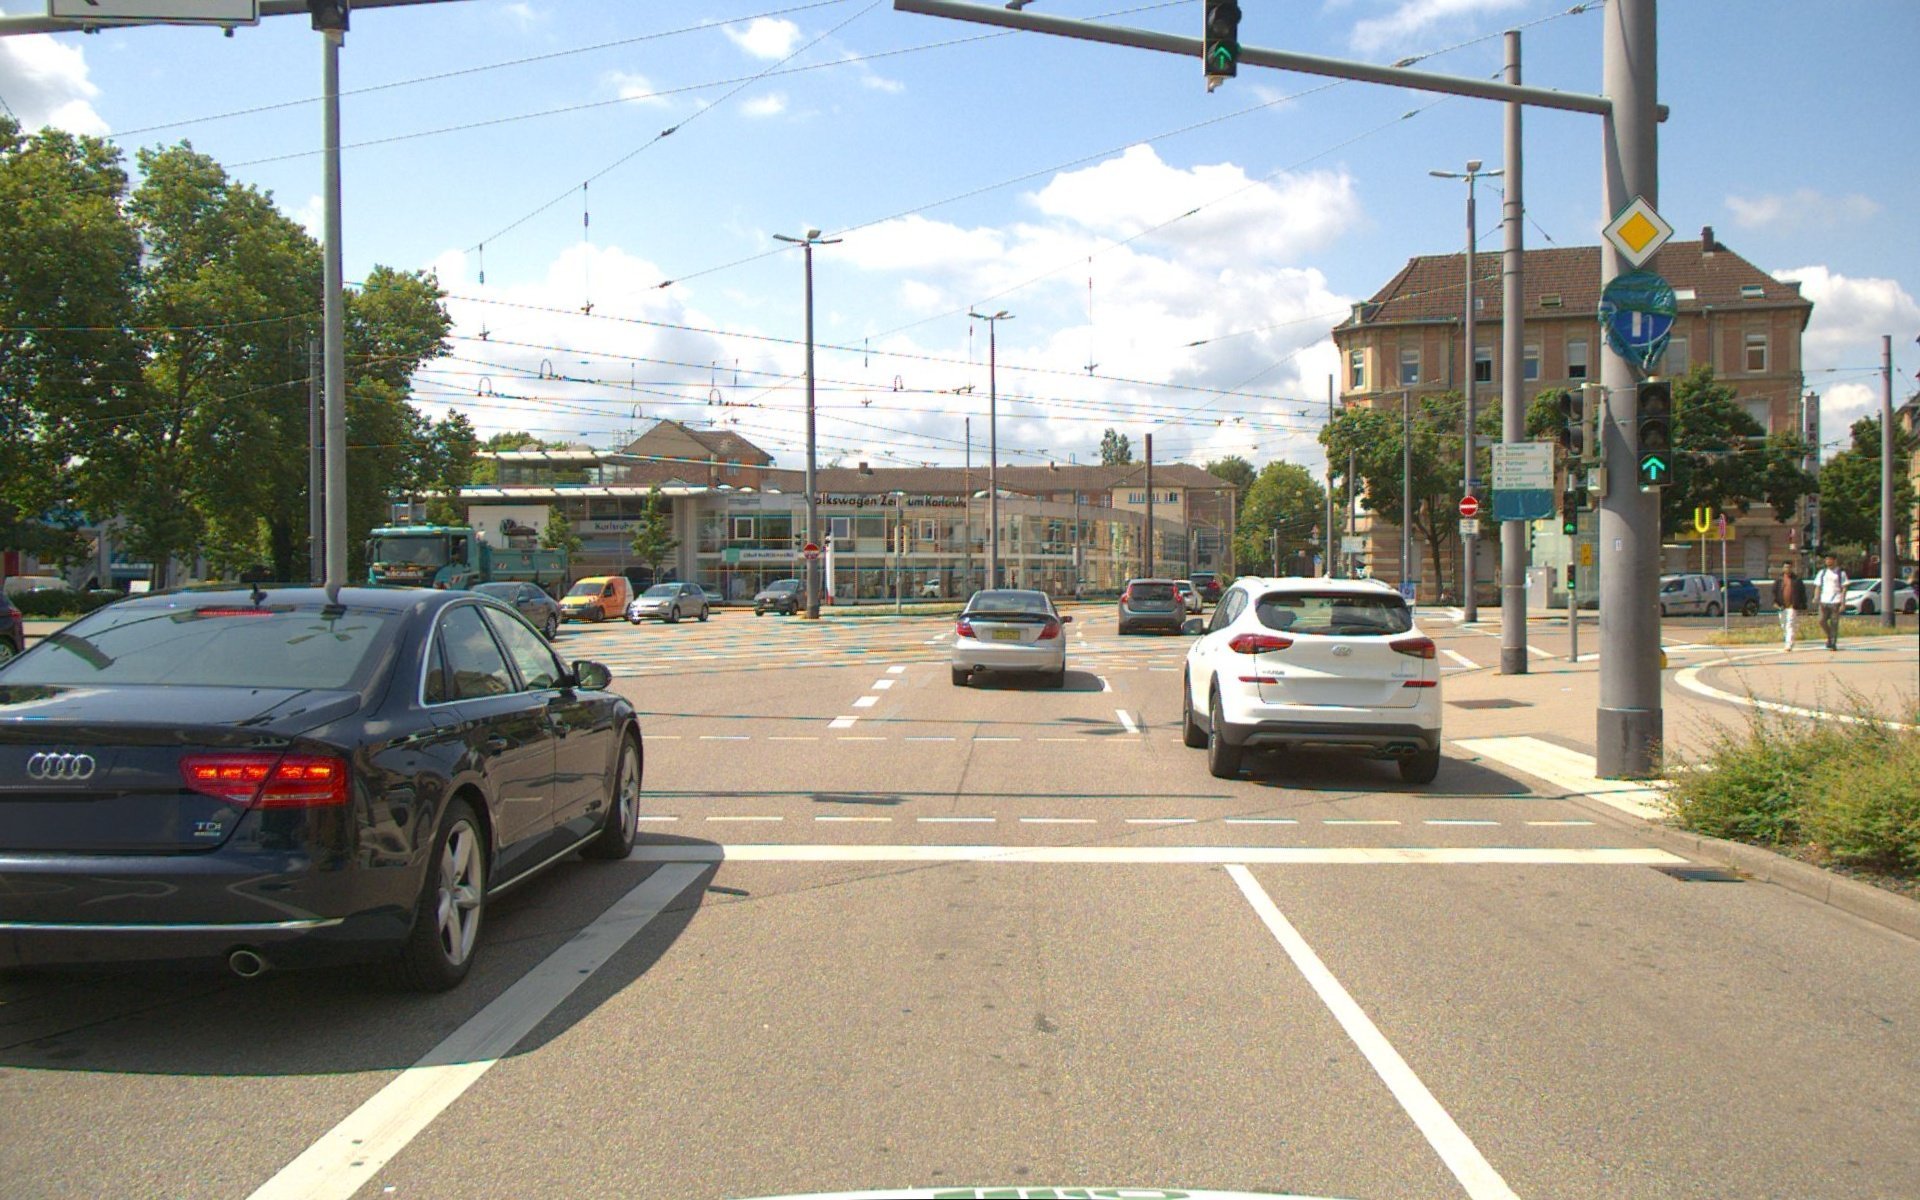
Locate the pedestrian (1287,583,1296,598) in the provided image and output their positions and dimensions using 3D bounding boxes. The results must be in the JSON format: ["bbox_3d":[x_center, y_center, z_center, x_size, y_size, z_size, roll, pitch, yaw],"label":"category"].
[{"bbox_3d":[20.671,-0.599,103.070,0.513,0.922,1.562,0,-1,14],"label":"pedestrian"}]

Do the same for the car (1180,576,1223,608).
[{"bbox_3d":[12.818,-0.434,87.468,1.841,1.670,3.960,0,1,14],"label":"car"}]

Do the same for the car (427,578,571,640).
[{"bbox_3d":[-11.119,0.180,40.234,1.618,1.416,4.779,0,1,7],"label":"car"}]

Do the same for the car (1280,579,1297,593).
[{"bbox_3d":[40.503,-1.768,204.133,1.841,1.722,3.960,0,1,15],"label":"car"}]

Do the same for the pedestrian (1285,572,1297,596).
[{"bbox_3d":[20.668,-0.991,103.144,0.677,1.483,0.680,0,-1,15],"label":"pedestrian"}]

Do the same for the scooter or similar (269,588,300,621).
[{"bbox_3d":[-23.688,0.156,57.973,0.370,1.135,1.095,0,-1,18],"label":"scooter or similar"}]

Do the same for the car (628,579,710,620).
[{"bbox_3d":[-10.724,-0.059,61.272,1.618,1.459,4.275,0,1,10],"label":"car"}]

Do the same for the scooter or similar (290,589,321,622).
[{"bbox_3d":[-22.873,0.185,57.839,0.370,1.135,1.095,0,-1,18],"label":"scooter or similar"}]

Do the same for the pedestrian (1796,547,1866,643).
[{"bbox_3d":[16.675,-0.099,31.670,0.748,1.782,0.854,-2,-1,-34],"label":"pedestrian"}]

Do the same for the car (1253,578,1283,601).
[{"bbox_3d":[22.638,-0.808,121.548,1.841,1.670,3.960,0,1,15],"label":"car"}]

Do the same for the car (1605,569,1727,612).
[{"bbox_3d":[25.617,-0.362,59.995,4.066,1.499,1.713,-1,1,-21],"label":"car"}]

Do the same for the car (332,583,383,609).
[{"bbox_3d":[-38.739,-0.265,106.413,1.954,1.601,4.175,1,-1,-3],"label":"car"}]

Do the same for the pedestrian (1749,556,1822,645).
[{"bbox_3d":[16.146,0.009,32.369,0.955,1.686,0.853,-2,-1,-34],"label":"pedestrian"}]

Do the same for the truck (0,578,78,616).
[{"bbox_3d":[-53.995,-0.216,96.892,1.766,2.157,4.781,0,1,4],"label":"truck"}]

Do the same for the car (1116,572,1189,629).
[{"bbox_3d":[5.187,-0.020,44.212,1.841,1.444,3.960,0,1,8],"label":"car"}]

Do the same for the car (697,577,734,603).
[{"bbox_3d":[-15.785,-0.607,106.969,1.954,1.601,3.997,1,-1,-3],"label":"car"}]

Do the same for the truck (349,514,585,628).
[{"bbox_3d":[-13.698,-0.791,46.929,2.824,2.902,8.800,0,1,9],"label":"truck"}]

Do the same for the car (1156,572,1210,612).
[{"bbox_3d":[9.789,-0.368,72.410,1.841,1.670,3.960,0,1,15],"label":"car"}]

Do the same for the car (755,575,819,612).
[{"bbox_3d":[-7.514,-0.317,72.211,1.681,1.558,4.125,0,1,11],"label":"car"}]

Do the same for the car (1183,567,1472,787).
[{"bbox_3d":[3.084,0.559,14.724,1.842,1.670,4.234,0,1,3],"label":"car"}]

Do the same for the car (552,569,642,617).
[{"bbox_3d":[-14.562,-0.299,66.589,1.681,1.832,4.745,-1,0,12],"label":"car"}]

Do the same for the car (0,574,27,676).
[{"bbox_3d":[-15.056,0.392,22.941,1.618,1.494,4.156,0,1,4],"label":"car"}]

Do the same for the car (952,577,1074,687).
[{"bbox_3d":[0.865,0.426,25.537,1.705,1.415,4.182,1,2,3],"label":"car"}]

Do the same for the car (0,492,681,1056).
[{"bbox_3d":[-2.619,0.486,7.298,1.888,1.670,4.793,0,1,1],"label":"car"}]

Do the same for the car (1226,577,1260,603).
[{"bbox_3d":[18.438,-0.649,107.772,1.841,1.670,3.960,0,1,15],"label":"car"}]

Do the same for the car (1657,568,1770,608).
[{"bbox_3d":[29.559,-0.487,64.911,4.066,1.499,1.713,-1,1,-21],"label":"car"}]

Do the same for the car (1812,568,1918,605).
[{"bbox_3d":[37.762,-0.568,69.008,4.066,1.499,1.713,-1,1,-21],"label":"car"}]
